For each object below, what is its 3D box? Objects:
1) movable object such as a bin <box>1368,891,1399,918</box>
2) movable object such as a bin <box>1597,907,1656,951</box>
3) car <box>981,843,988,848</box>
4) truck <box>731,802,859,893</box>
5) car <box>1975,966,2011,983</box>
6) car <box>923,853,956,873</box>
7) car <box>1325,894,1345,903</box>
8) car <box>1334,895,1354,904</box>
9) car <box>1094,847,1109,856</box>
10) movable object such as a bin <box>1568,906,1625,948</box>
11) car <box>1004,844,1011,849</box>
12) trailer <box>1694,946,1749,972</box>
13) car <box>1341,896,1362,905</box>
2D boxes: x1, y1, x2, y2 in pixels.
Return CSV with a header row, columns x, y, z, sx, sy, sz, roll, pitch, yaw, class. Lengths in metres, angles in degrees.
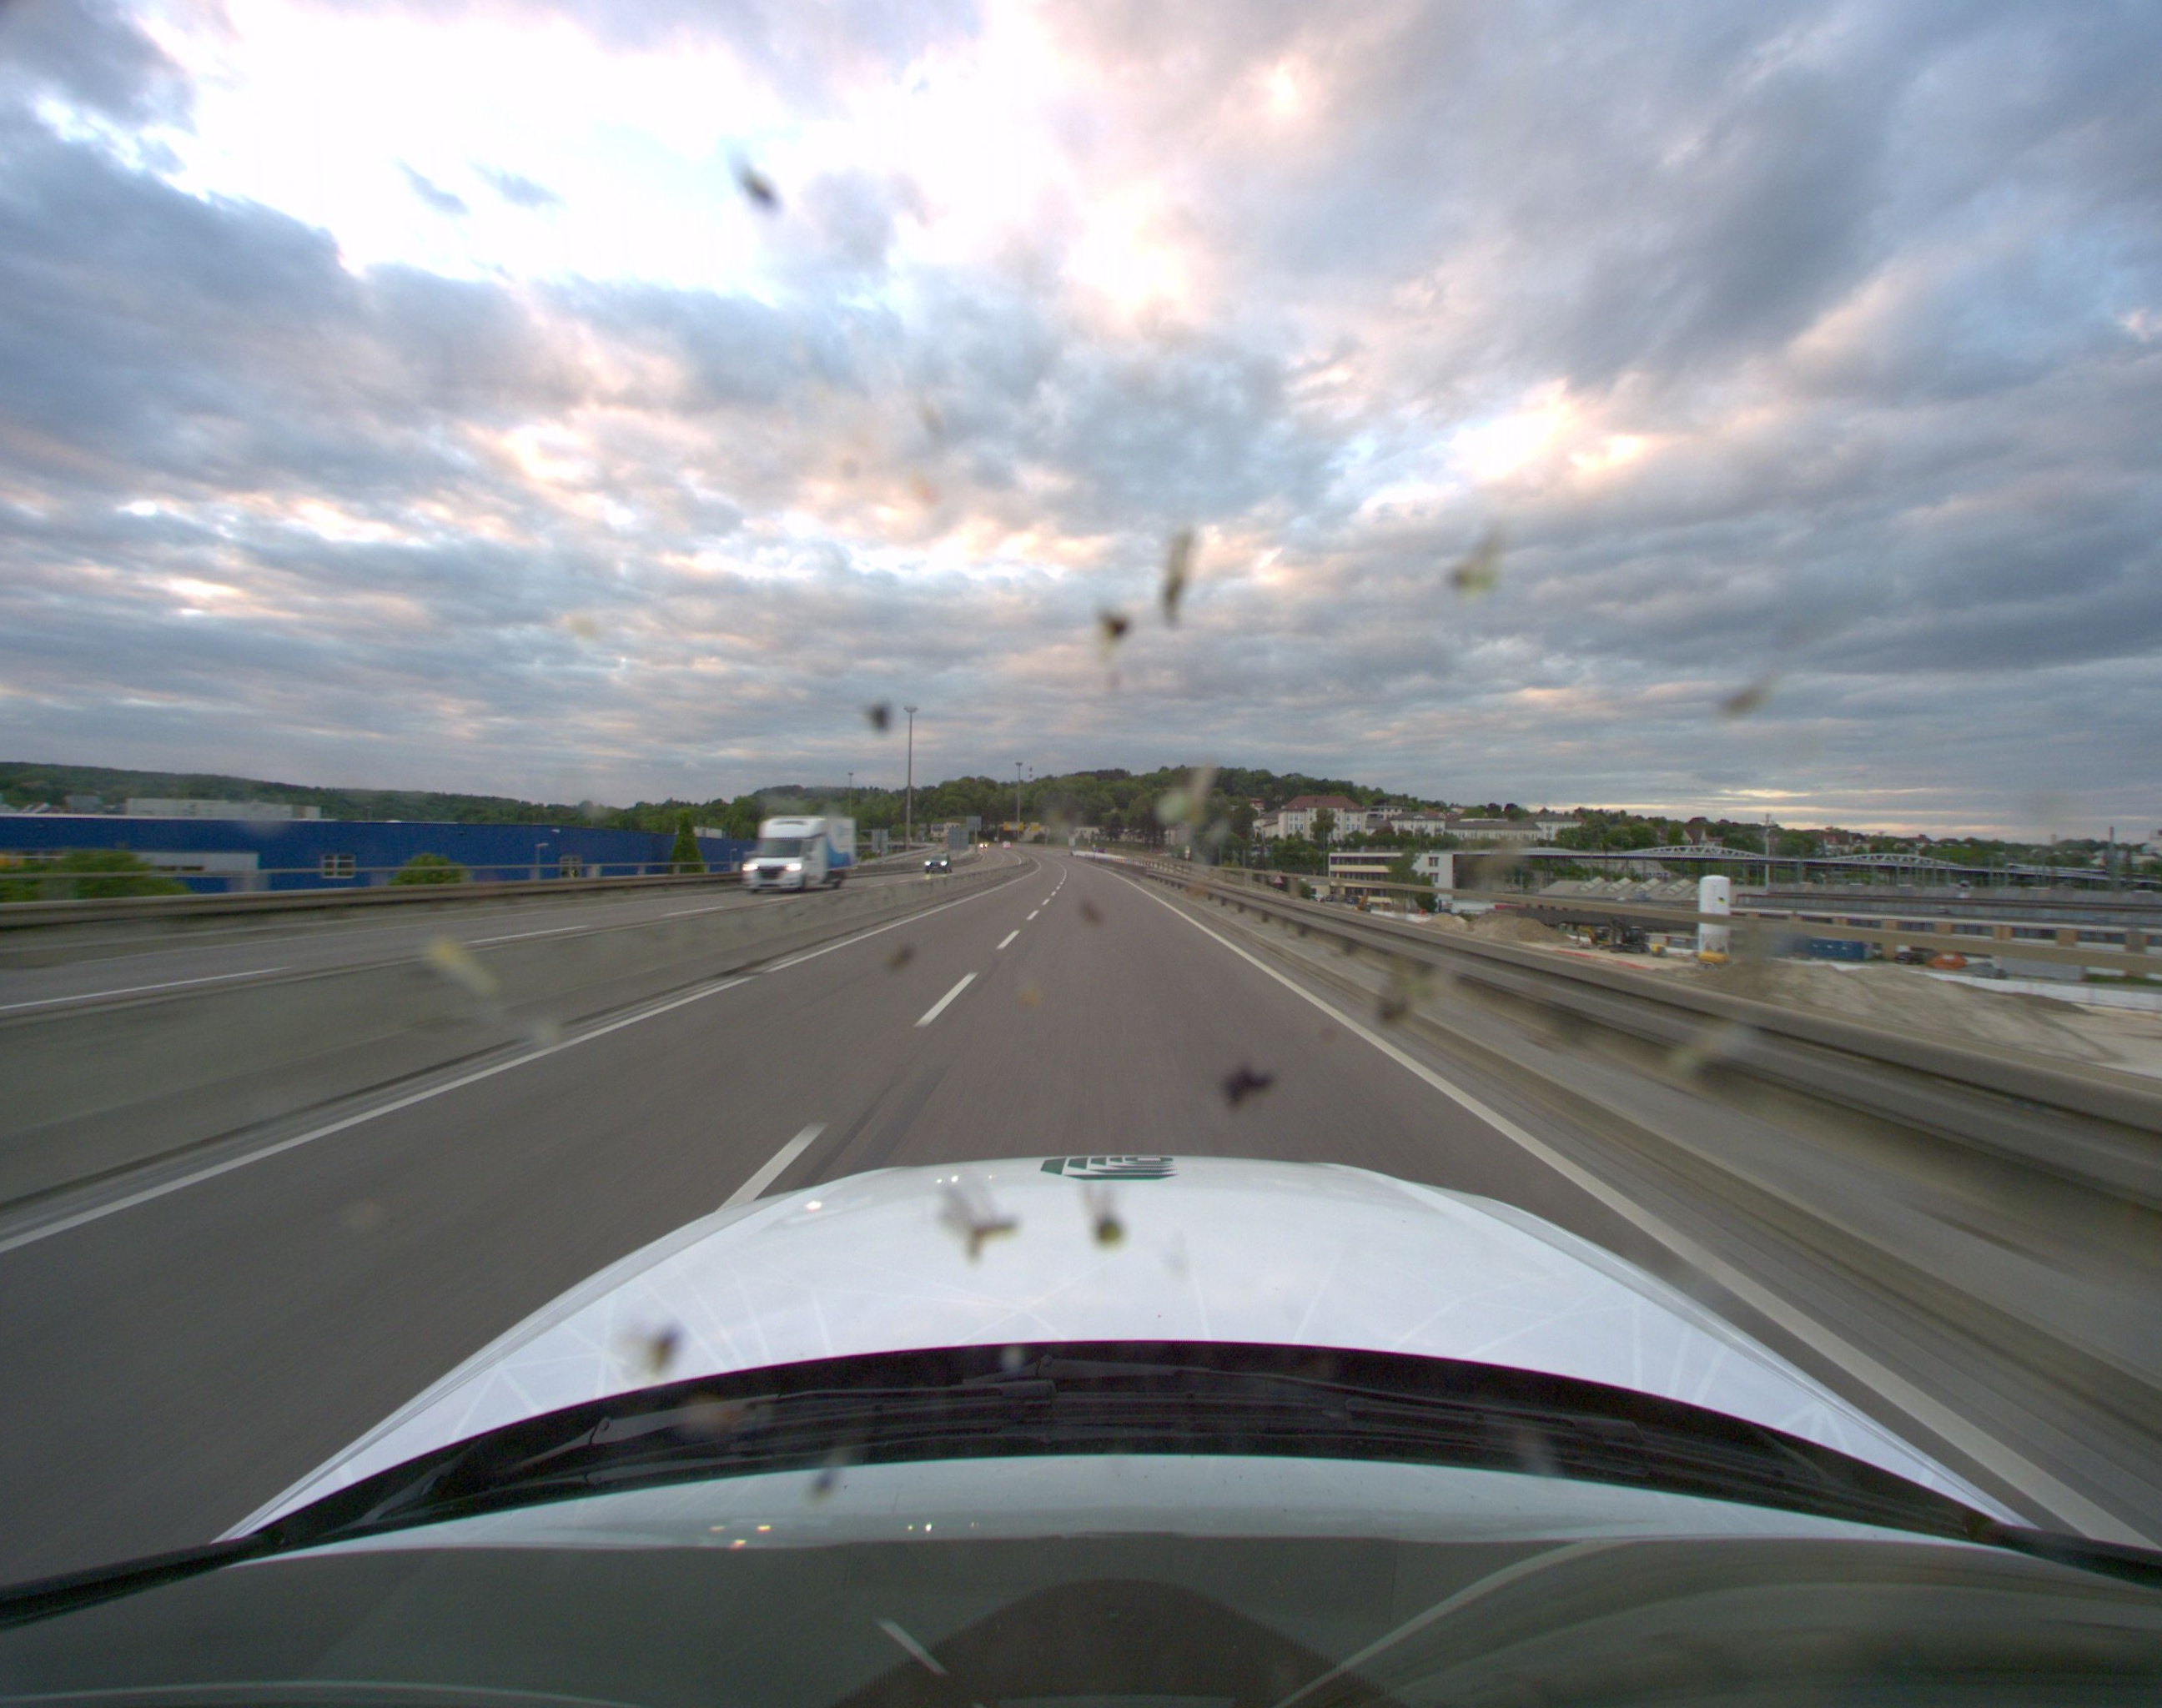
x,y,z,sx,sy,sz,roll,pitch,yaw,class
55.106,9.189,148.482,2.778,4.310,4.936,6,0,-13,movable object such as a bin
62.415,8.592,93.146,4.950,4.310,2.770,6,-1,-16,movable object such as a bin
-29.318,-2.696,246.541,1.831,1.480,4.269,0,0,-12,car
-11.438,-0.233,33.375,2.526,3.297,7.446,0,0,1,truck
97.144,12.880,86.762,4.013,1.420,1.853,6,0,-33,car
-11.461,0.711,66.091,1.971,1.605,4.438,0,0,-1,car
52.844,9.328,169.313,4.016,1.565,1.813,4,2,-35,car
53.672,9.307,166.156,4.016,1.565,1.813,4,2,-35,car
4.134,-0.472,165.676,2.304,1.763,4.249,1,1,-9,car
61.222,8.617,96.757,4.950,4.310,2.770,6,-1,-16,movable object such as a bin
-21.564,-2.232,238.770,1.633,1.387,3.982,-1,1,-13,car
62.387,10.169,79.369,1.992,1.803,3.834,6,0,-7,trailer
53.776,9.285,162.014,4.016,1.565,1.813,4,2,-35,car
